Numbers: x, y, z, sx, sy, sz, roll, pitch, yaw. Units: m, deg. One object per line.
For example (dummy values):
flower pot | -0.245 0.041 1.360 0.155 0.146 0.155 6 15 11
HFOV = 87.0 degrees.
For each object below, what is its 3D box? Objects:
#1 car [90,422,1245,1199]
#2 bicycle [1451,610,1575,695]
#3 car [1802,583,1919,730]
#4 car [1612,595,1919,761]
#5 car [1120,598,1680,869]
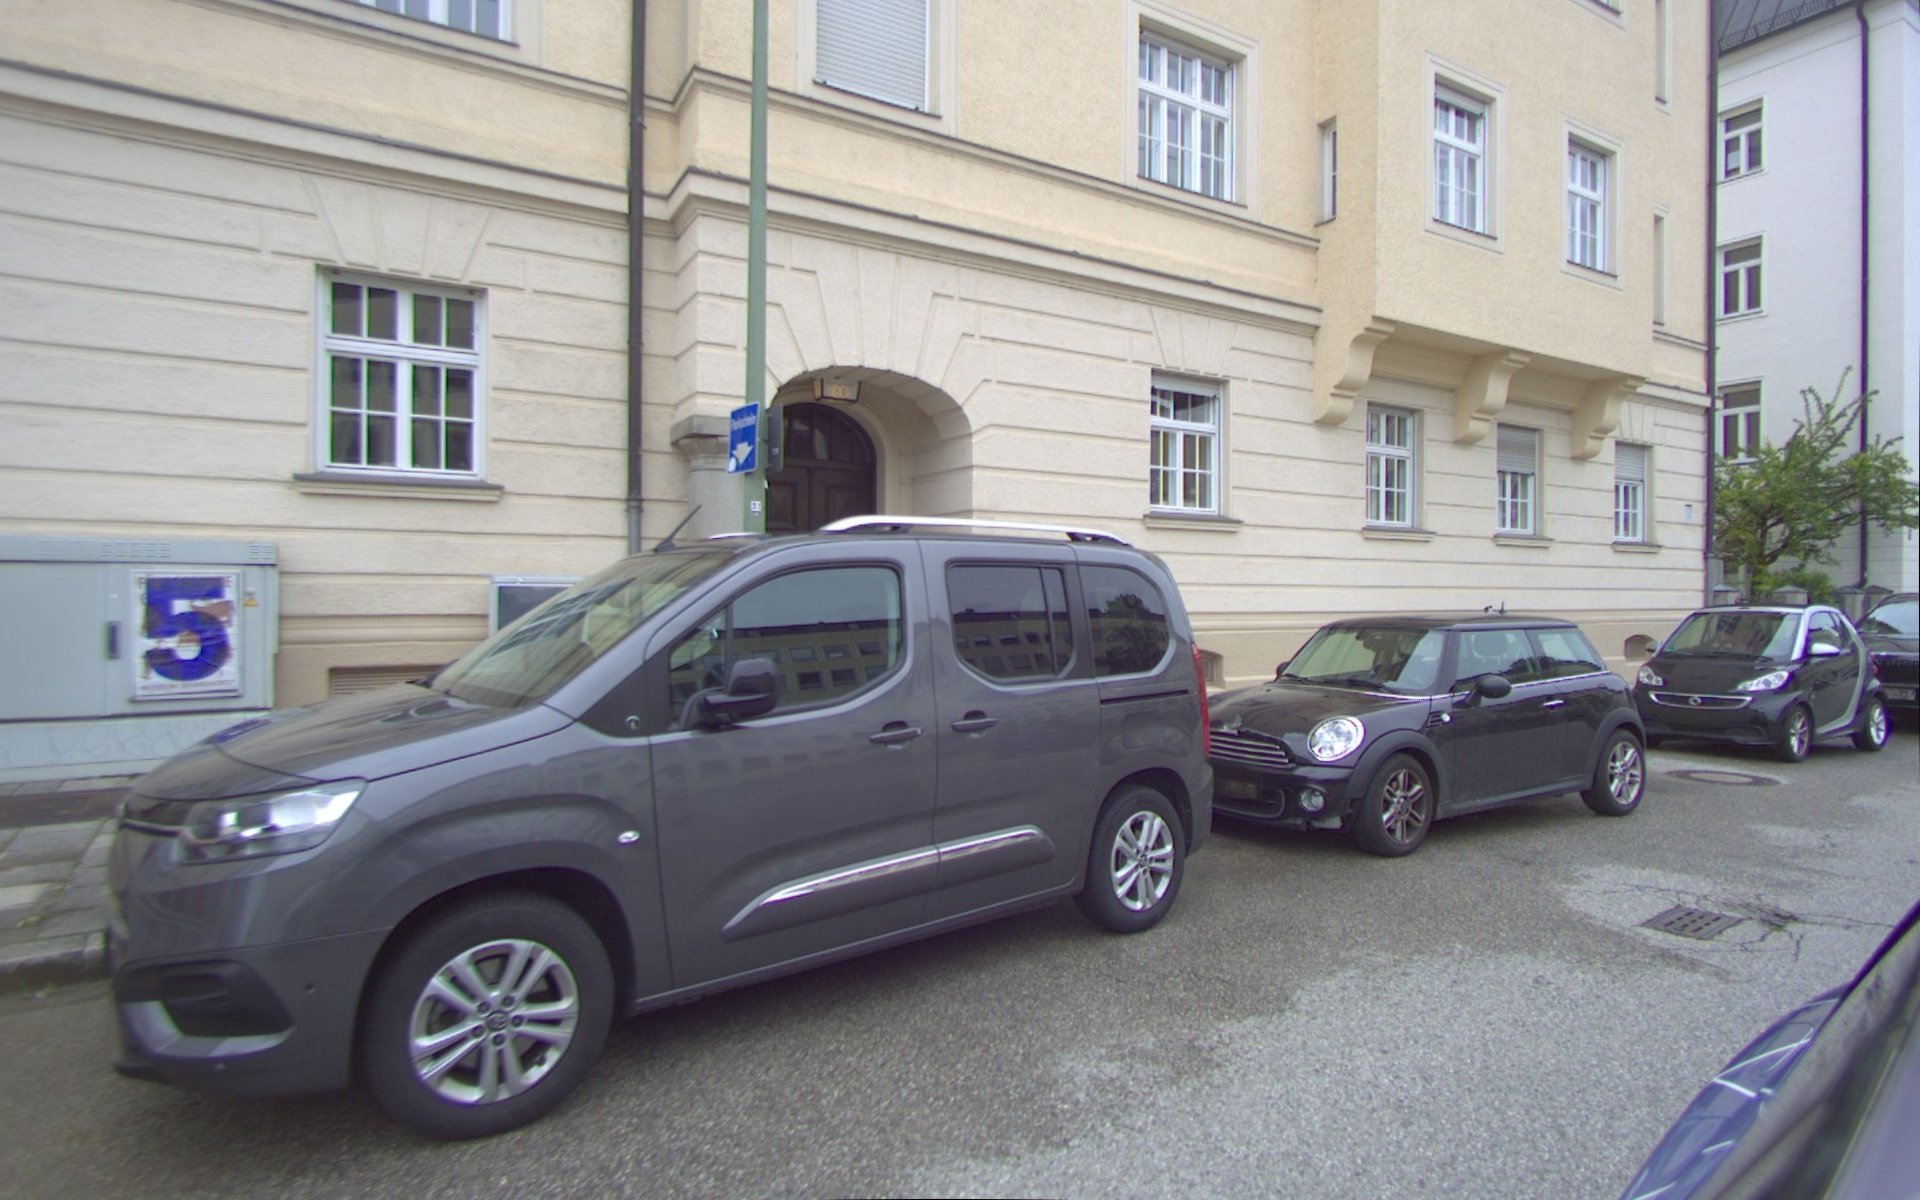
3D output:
car | -0.825 0.535 4.248 4.198 1.830 1.781 0 -1 -39
bicycle | 7.720 0.702 14.109 1.914 1.096 0.582 1 2 -31
car | 13.271 0.661 13.281 4.768 1.739 1.876 0 -1 -30
car | 8.652 0.731 10.831 3.048 1.543 1.541 0 -1 -29
car | 3.165 0.736 7.181 3.752 1.466 1.715 0 -1 -29
